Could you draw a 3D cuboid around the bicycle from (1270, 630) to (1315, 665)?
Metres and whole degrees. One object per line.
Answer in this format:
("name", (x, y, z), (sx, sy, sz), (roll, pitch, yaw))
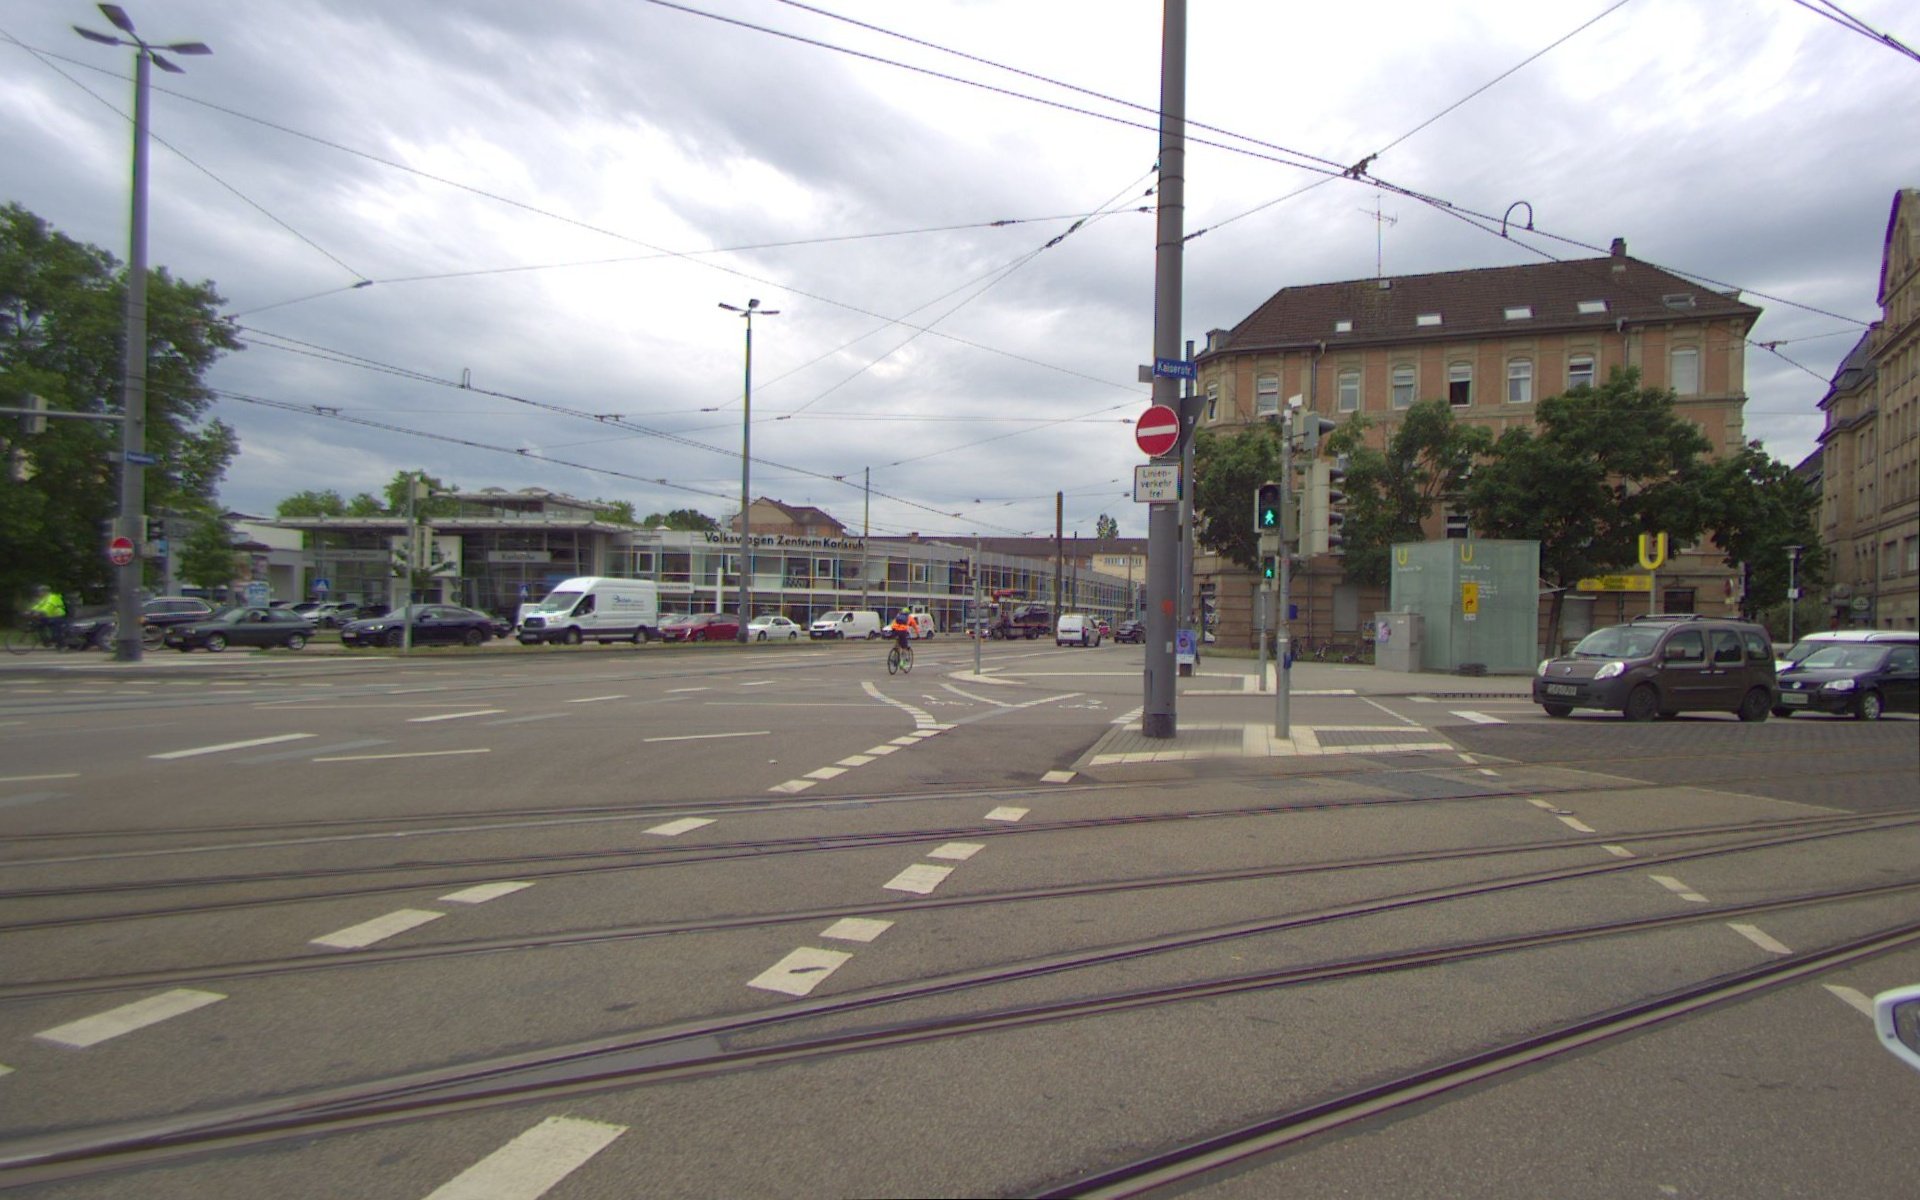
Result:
("bicycle", (13.995, 1.984, 42.238), (0.945, 1.372, 3.111), (2, -1, 35))

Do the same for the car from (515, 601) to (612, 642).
("car", (-21.663, 1.183, 54.889), (4.688, 2.040, 2.121), (2, -1, 22))

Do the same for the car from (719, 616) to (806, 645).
("car", (-10.565, 1.641, 54.086), (1.965, 1.439, 4.741), (1, -1, 31))

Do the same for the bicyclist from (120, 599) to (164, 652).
("bicyclist", (-24.145, 0.740, 29.652), (0.557, 1.528, 0.856), (1, 0, 26))

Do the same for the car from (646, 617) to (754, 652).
("car", (-11.559, 1.544, 45.023), (1.964, 1.439, 4.794), (1, -1, 28))

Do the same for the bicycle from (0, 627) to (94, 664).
("bicycle", (-25.207, 1.232, 27.512), (0.510, 0.942, 2.221), (1, -1, 25))

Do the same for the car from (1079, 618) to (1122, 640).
("car", (12.374, 2.561, 88.168), (1.966, 1.863, 4.511), (1, -1, 33))

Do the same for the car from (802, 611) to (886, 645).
("car", (-6.881, 1.672, 60.313), (2.125, 1.881, 5.436), (1, -1, 31))

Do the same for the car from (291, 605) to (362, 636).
("car", (-44.580, 1.470, 70.818), (1.959, 2.040, 4.003), (2, -1, 10))

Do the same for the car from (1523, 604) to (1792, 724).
("car", (12.213, 1.111, 17.599), (4.319, 1.925, 1.687), (2, -1, -20))

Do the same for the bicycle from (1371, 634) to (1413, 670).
("bicycle", (17.528, 2.099, 40.702), (0.945, 1.372, 3.111), (2, -1, 35))

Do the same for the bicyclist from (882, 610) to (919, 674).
("bicyclist", (-1.573, 1.107, 26.903), (0.813, 1.642, 1.322), (1, -1, 3))

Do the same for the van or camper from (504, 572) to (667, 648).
("van or camper", (-14.339, 0.466, 38.950), (2.376, 2.645, 6.051), (2, -1, 22))

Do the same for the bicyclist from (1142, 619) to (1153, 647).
("bicyclist", (11.768, 2.070, 63.059), (0.676, 1.730, 0.799), (1, -1, 10))

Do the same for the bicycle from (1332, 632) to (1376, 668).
("bicycle", (16.125, 2.048, 41.057), (0.945, 1.372, 3.111), (2, -1, 35))

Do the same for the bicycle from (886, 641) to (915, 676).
("bicycle", (-1.582, 1.546, 26.930), (0.547, 0.859, 2.074), (1, -1, 3))

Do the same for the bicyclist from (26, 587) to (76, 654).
("bicyclist", (-25.079, 0.559, 27.721), (0.618, 1.827, 0.797), (1, -1, 26))

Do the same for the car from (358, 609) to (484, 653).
("car", (-18.882, 1.089, 35.366), (1.608, 1.439, 3.737), (1, -1, 21))

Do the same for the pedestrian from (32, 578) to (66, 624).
("pedestrian", (-39.072, 0.053, 43.084), (0.698, 1.925, 0.859), (2, -1, 35))

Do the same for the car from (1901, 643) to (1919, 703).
("car", (27.206, 1.934, 26.363), (4.235, 1.554, 1.862), (2, -3, -19))

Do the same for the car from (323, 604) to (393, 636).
("car", (-41.886, 1.405, 69.965), (1.959, 2.040, 4.003), (2, -1, 10))

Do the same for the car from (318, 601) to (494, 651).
("car", (-17.330, 0.822, 31.703), (1.961, 1.439, 4.661), (1, -1, 21))

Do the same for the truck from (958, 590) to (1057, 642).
("truck", (3.762, 1.266, 76.558), (2.758, 3.596, 9.191), (2, -2, 36))

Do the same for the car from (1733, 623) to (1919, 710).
("car", (21.549, 1.597, 24.459), (5.021, 1.941, 1.861), (2, -1, -19))

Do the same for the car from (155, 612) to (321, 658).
("car", (-21.590, 1.038, 30.201), (1.659, 1.263, 3.737), (1, -1, 21))

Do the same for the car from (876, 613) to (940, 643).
("car", (-3.399, 1.863, 66.324), (1.966, 1.863, 4.511), (1, -1, 33))

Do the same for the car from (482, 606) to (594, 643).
("car", (-17.173, 1.010, 41.123), (1.609, 1.439, 4.268), (1, -1, 24))

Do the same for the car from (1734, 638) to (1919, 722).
("car", (17.128, 1.515, 19.329), (3.939, 1.461, 1.687), (2, -1, -20))

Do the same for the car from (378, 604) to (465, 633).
("car", (-27.533, 0.963, 51.466), (1.609, 1.439, 3.735), (1, -1, 24))

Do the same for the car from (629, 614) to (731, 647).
("car", (-13.410, 1.470, 48.435), (1.964, 1.439, 4.794), (1, -1, 28))

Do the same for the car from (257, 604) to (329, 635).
("car", (-47.067, 1.398, 70.974), (1.959, 2.040, 4.003), (2, -1, 10))

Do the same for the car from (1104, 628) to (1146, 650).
("car", (11.675, 2.741, 70.900), (1.962, 1.439, 3.998), (1, -1, 24))

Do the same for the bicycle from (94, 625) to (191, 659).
("bicycle", (-24.145, 1.217, 29.713), (0.510, 0.938, 2.221), (1, -1, 25))

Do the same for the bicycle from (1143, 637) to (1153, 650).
("bicycle", (11.782, 2.735, 63.044), (0.608, 0.804, 1.593), (1, -1, 10))

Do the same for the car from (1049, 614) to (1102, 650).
("car", (6.751, 1.836, 58.227), (1.882, 1.966, 4.129), (1, -1, 24))

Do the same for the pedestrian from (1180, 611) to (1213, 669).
("pedestrian", (7.363, 1.242, 31.284), (0.894, 1.751, 0.603), (1, -1, 3))

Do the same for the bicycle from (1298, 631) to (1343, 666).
("bicycle", (14.992, 2.014, 41.675), (0.945, 1.372, 3.111), (2, -1, 35))
